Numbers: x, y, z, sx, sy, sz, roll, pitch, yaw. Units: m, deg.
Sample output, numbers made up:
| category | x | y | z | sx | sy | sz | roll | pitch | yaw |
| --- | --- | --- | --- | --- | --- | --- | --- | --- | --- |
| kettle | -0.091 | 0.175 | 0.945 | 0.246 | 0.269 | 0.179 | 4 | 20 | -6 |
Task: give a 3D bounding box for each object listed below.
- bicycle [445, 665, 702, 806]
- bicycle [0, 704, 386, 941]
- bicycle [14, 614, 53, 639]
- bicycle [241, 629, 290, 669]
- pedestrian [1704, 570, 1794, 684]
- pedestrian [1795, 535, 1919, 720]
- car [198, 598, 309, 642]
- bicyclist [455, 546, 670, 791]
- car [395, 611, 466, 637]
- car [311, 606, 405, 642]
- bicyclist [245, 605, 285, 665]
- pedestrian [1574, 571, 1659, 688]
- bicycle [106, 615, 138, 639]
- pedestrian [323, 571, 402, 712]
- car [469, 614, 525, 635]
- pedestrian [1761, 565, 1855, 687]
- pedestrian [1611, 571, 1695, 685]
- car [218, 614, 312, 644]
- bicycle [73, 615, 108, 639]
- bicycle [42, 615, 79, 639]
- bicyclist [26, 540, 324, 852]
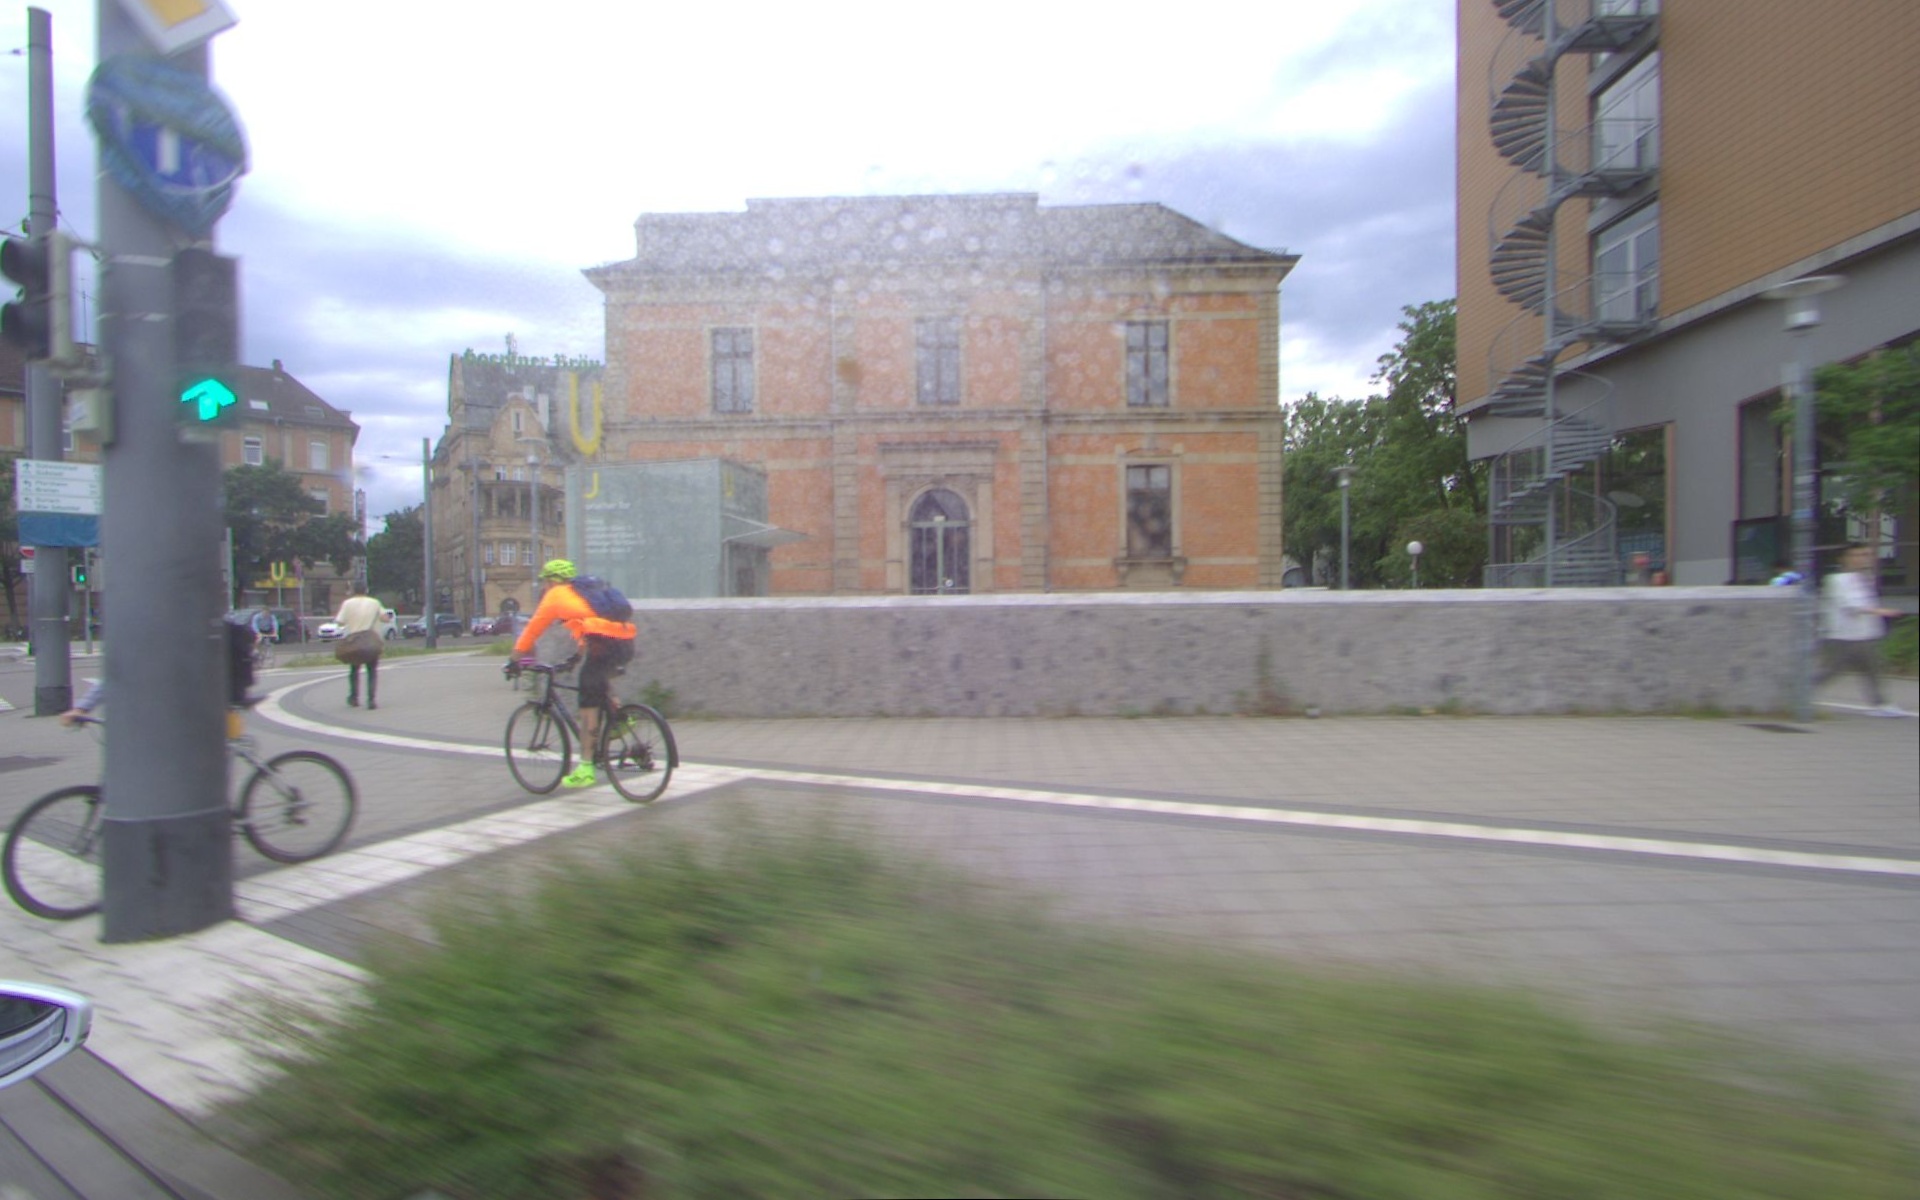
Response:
| category | x | y | z | sx | sy | sz | roll | pitch | yaw |
| --- | --- | --- | --- | --- | --- | --- | --- | --- | --- |
| bicycle | -2.864 | 0.942 | 7.336 | 2.041 | 0.859 | 0.556 | -1 | 0 | 28 |
| bicycle | -4.328 | 1.125 | 5.583 | 0.755 | 0.851 | 1.818 | -1 | 1 | 27 |
| bicycle | -53.316 | 1.537 | 57.682 | 0.947 | 1.371 | 3.105 | 1 | -2 | -30 |
| bicycle | -19.055 | 1.327 | 27.503 | 0.662 | 0.946 | 1.852 | -3 | 2 | -23 |
| pedestrian | 11.803 | 0.398 | 15.005 | 0.710 | 1.653 | 0.874 | 0 | 0 | 8 |
| pedestrian | 9.250 | 0.277 | 10.258 | 0.823 | 1.829 | 0.703 | 0 | 0 | 12 |
| car | -32.079 | 0.909 | 45.653 | 1.661 | 1.925 | 4.386 | 0 | -1 | 6 |
| bicyclist | -2.927 | 0.469 | 7.392 | 1.301 | 1.642 | 0.826 | 0 | 0 | 28 |
| car | -33.567 | 1.520 | 63.657 | 1.833 | 1.554 | 4.302 | -2 | -1 | 7 |
| car | -34.274 | 1.329 | 57.189 | 1.833 | 1.941 | 5.100 | 0 | -1 | 7 |
| bicyclist | -19.055 | 0.933 | 27.472 | 0.681 | 1.582 | 0.923 | -2 | 2 | -24 |
| pedestrian | 10.177 | 0.446 | 15.555 | 0.710 | 1.753 | 0.874 | 0 | 0 | -7 |
| bicycle | -50.441 | 1.622 | 60.301 | 0.947 | 1.371 | 3.105 | 1 | -2 | -30 |
| pedestrian | -8.528 | 0.569 | 14.278 | 0.876 | 1.892 | 1.278 | -1 | 0 | -35 |
| car | -32.486 | 1.705 | 70.345 | 1.833 | 1.417 | 3.895 | -2 | -1 | 5 |
| pedestrian | 12.631 | 0.382 | 14.946 | 0.710 | 1.760 | 0.874 | 0 | 0 | 8 |
| pedestrian | 11.037 | 0.437 | 15.969 | 0.710 | 1.766 | 0.874 | 0 | 0 | -7 |
| car | -34.704 | 1.437 | 50.114 | 1.661 | 1.461 | 4.000 | 0 | -1 | 6 |
| bicycle | -51.356 | 1.585 | 59.154 | 0.947 | 1.371 | 3.105 | 1 | -2 | -30 |
| bicycle | -52.389 | 1.559 | 58.367 | 0.947 | 1.371 | 3.105 | 1 | -2 | -30 |
| bicyclist | -4.353 | 0.484 | 5.614 | 0.748 | 1.540 | 1.097 | 0 | 0 | 27 |
